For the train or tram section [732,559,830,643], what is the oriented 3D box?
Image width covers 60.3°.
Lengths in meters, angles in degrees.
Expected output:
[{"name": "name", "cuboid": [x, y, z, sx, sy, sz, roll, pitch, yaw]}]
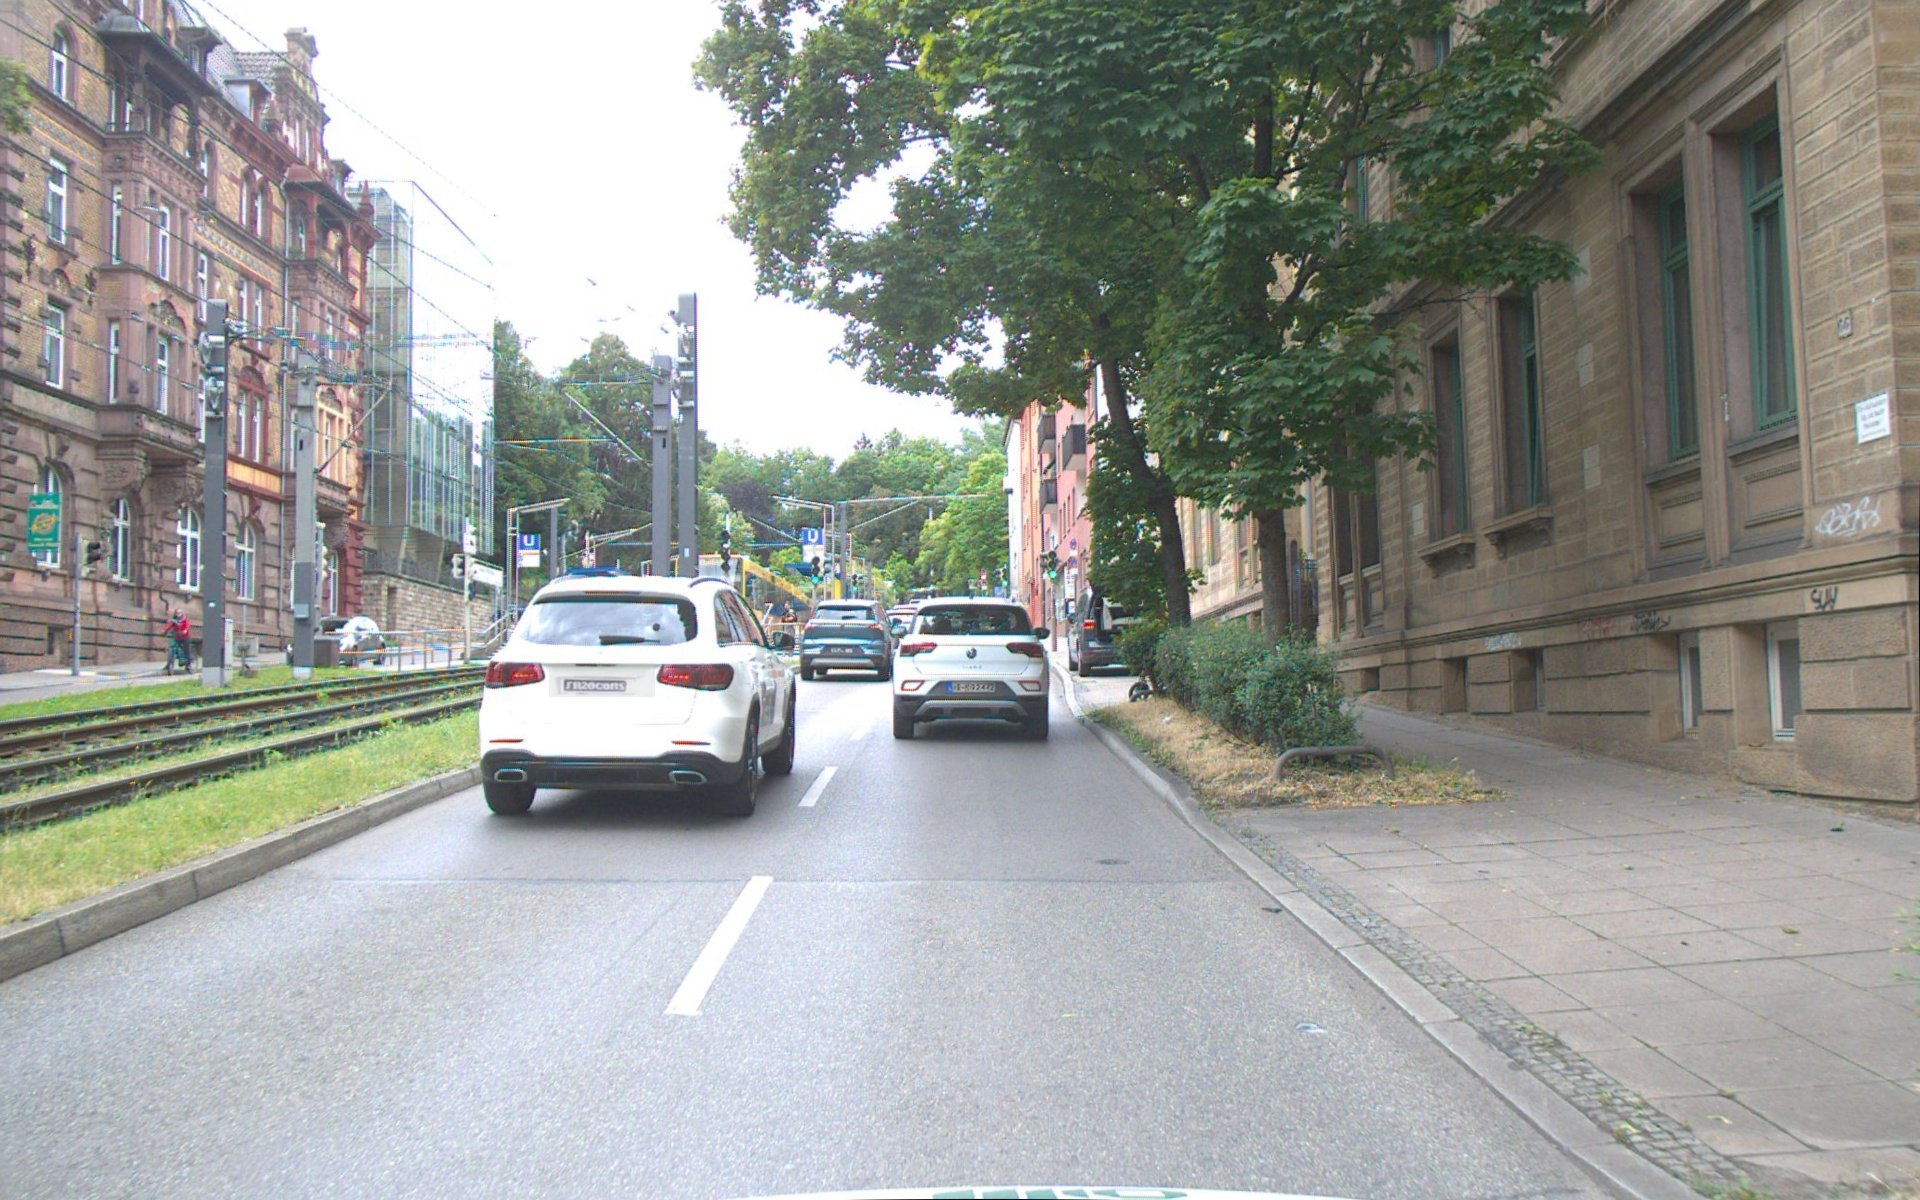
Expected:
[{"name": "train or tram section", "cuboid": [-7.937, 0.056, 75.260, 2.934, 3.407, 13.529, -1, 0, 0]}]

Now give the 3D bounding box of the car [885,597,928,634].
[{"name": "car", "cuboid": [-2.385, 0.676, 74.487, 1.798, 1.573, 4.193, 1, 0, -1]}]

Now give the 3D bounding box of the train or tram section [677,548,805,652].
[{"name": "train or tram section", "cuboid": [-7.918, 0.014, 61.735, 2.934, 3.407, 13.438, -1, 0, 0]}]

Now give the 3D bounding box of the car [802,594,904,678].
[{"name": "car", "cuboid": [-2.108, 0.685, 33.620, 1.798, 1.573, 4.193, 1, 0, -1]}]

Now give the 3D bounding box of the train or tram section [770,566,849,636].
[{"name": "train or tram section", "cuboid": [-7.903, 0.067, 88.778, 2.934, 3.407, 13.438, -1, 0, 0]}]

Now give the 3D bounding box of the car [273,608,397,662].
[{"name": "car", "cuboid": [-17.470, 0.955, 46.448, 1.953, 1.427, 4.000, -1, 0, 0]}]

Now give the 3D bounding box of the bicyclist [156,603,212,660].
[{"name": "bicyclist", "cuboid": [-20.447, 0.815, 43.585, 0.919, 1.450, 1.188, -1, 0, -1]}]

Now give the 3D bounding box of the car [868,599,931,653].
[{"name": "car", "cuboid": [-1.850, 0.783, 51.678, 1.798, 1.573, 4.193, 1, 0, -1]}]

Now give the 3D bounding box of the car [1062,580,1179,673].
[{"name": "car", "cuboid": [3.068, 0.489, 32.336, 1.798, 1.629, 4.193, -2, 0, -1]}]

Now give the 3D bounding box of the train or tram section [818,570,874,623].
[{"name": "train or tram section", "cuboid": [-7.856, -0.210, 115.848, 2.934, 3.407, 13.438, -1, 0, 0]}]

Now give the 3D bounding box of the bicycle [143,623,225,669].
[{"name": "bicycle", "cuboid": [-20.443, 1.198, 43.627, 0.919, 1.119, 2.702, -1, 0, -1]}]

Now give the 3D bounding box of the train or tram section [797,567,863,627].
[{"name": "train or tram section", "cuboid": [-7.894, -0.160, 102.289, 2.934, 3.407, 13.438, -1, 0, 0]}]

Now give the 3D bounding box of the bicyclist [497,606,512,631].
[{"name": "bicyclist", "cuboid": [-22.104, 0.905, 80.247, 0.508, 1.212, 0.655, -1, 0, 0]}]

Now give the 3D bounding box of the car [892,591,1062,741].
[{"name": "car", "cuboid": [0.121, 0.704, 19.673, 1.798, 1.573, 4.192, 1, 0, -2]}]

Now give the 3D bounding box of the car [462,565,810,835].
[{"name": "car", "cuboid": [-2.273, 0.644, 12.872, 1.798, 1.696, 4.670, 1, 0, 0]}]

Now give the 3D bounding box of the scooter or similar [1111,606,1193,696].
[{"name": "scooter or similar", "cuboid": [2.513, 0.662, 21.697, 1.015, 1.138, 0.331, -2, 0, 6]}]
